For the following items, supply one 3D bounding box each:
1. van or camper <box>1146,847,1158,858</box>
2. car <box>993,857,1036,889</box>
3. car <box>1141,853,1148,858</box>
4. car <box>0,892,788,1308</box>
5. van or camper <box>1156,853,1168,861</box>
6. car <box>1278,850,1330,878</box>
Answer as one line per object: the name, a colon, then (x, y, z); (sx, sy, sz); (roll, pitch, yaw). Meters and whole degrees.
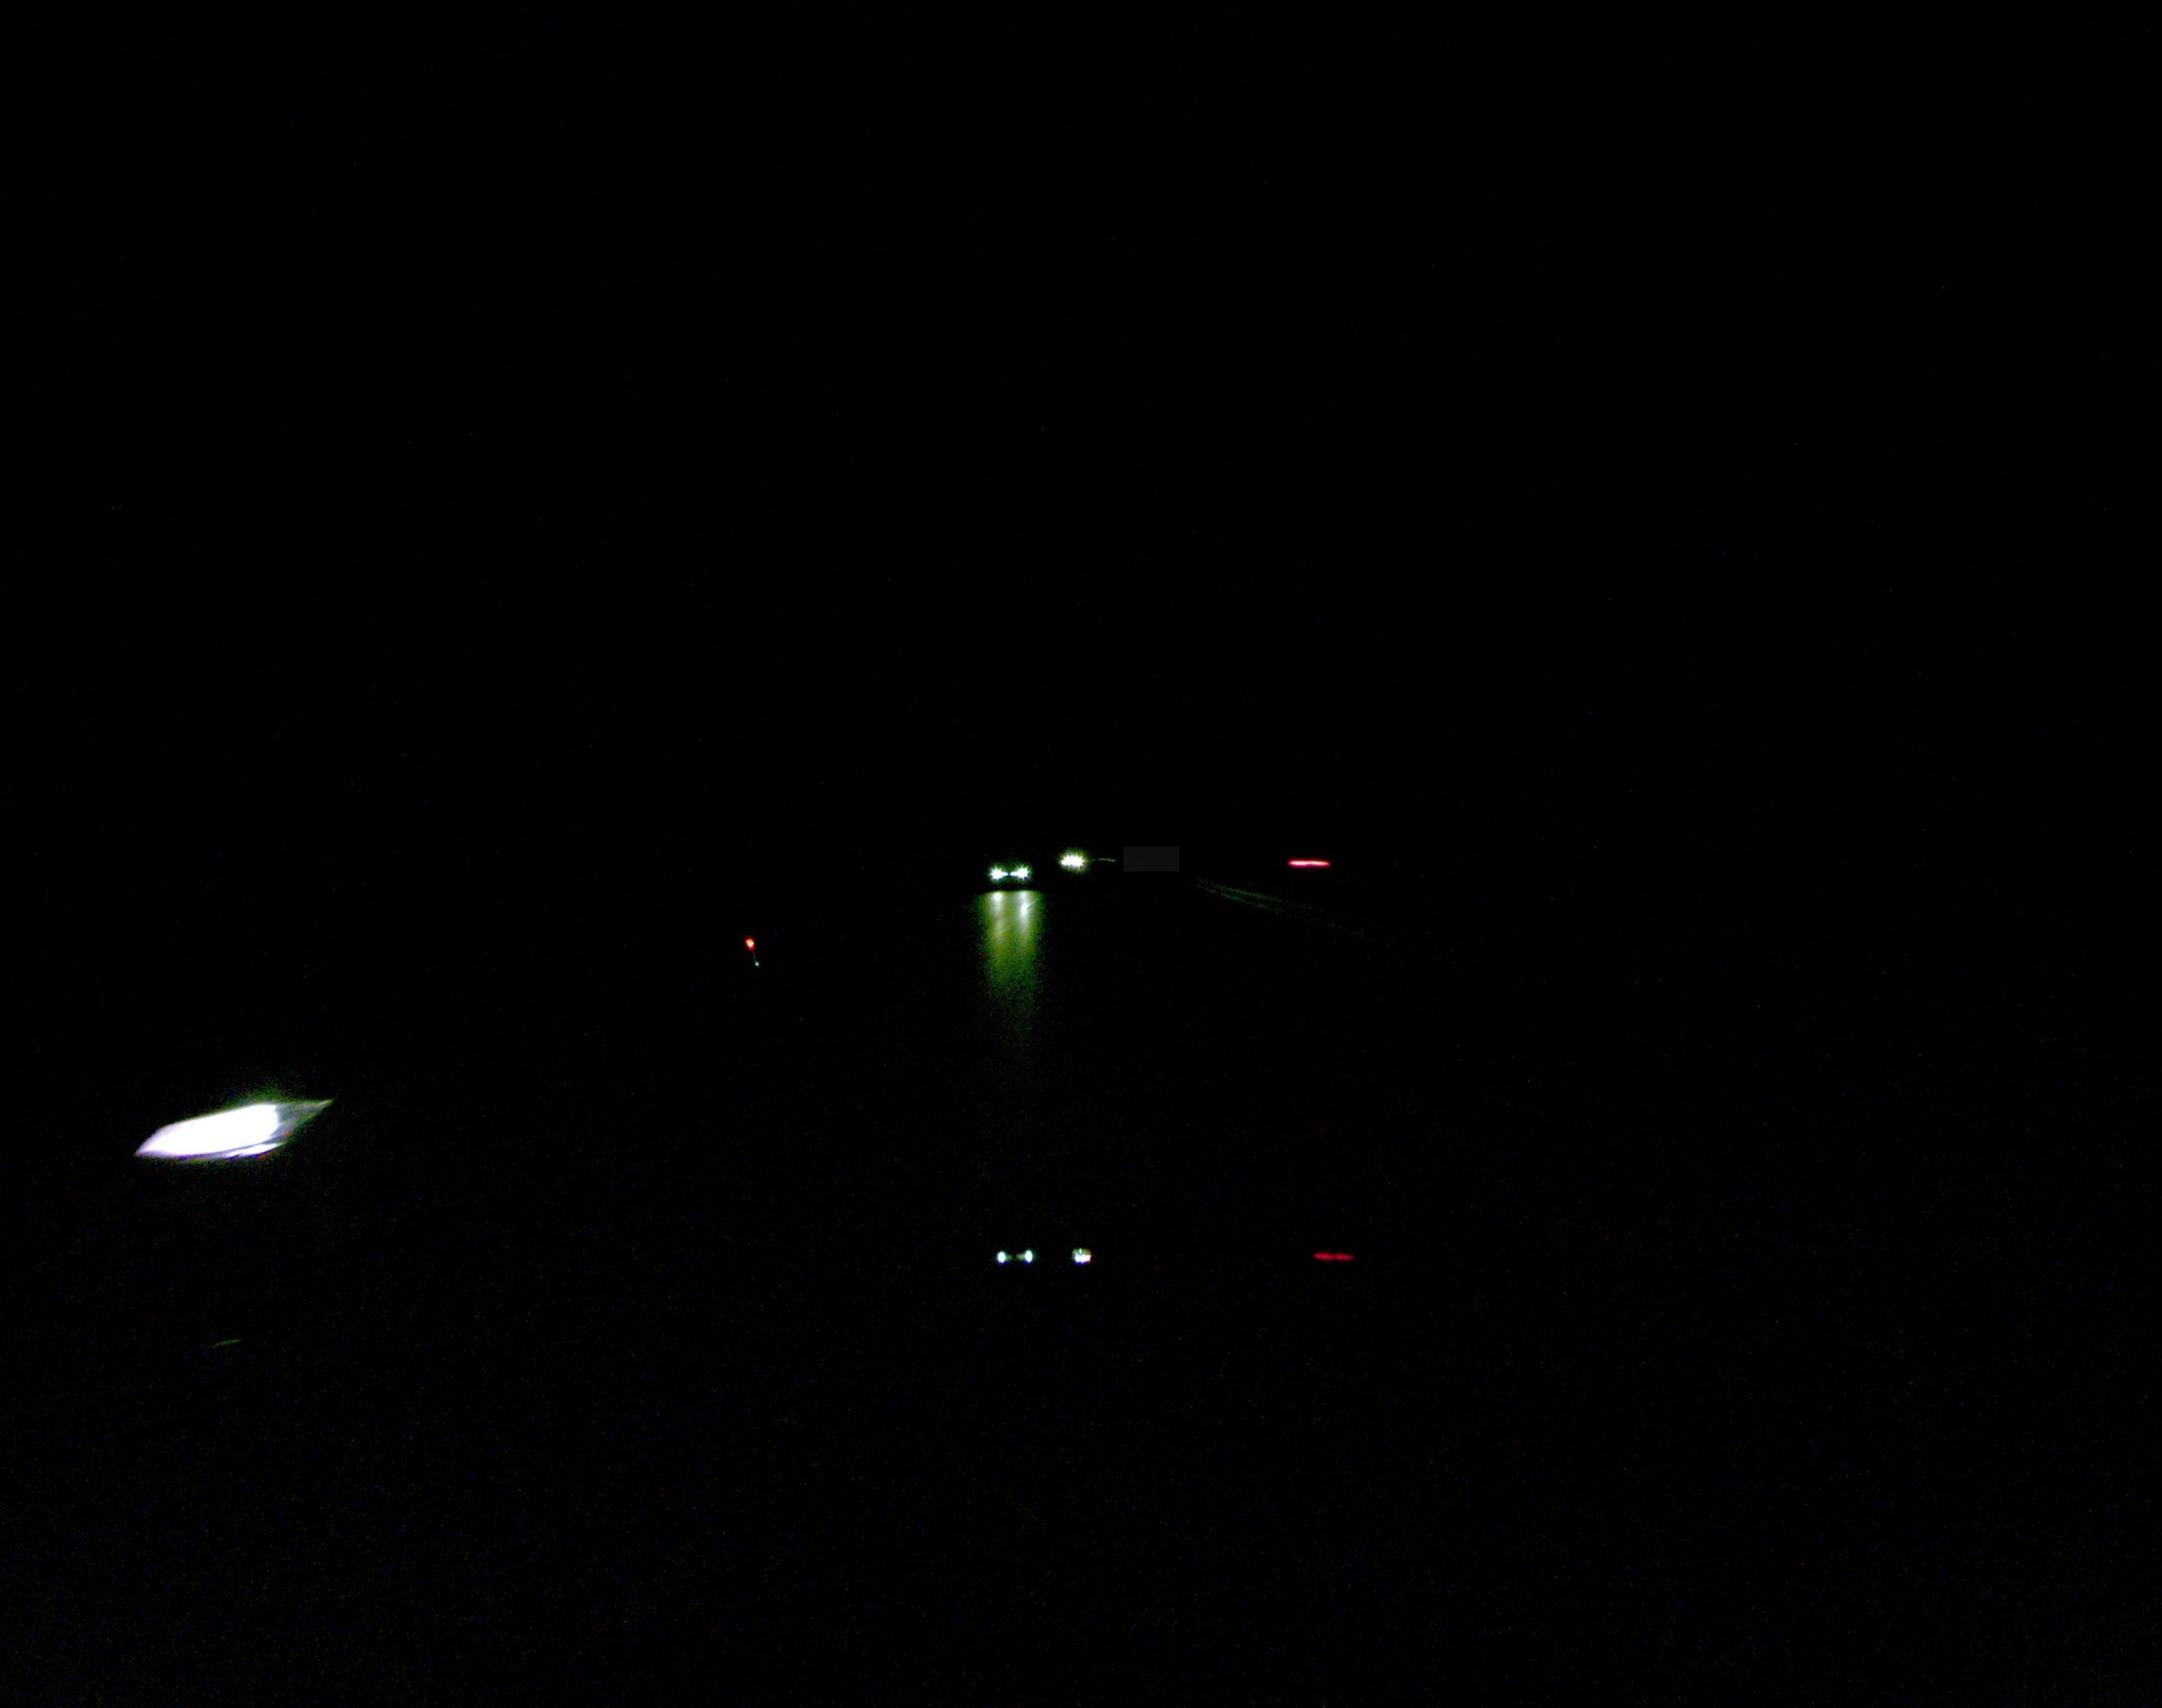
van or camper: (16.613, -0.377, 178.356); (2.335, 2.616, 7.777); (2, 1, 1)
car: (-3.567, 0.979, 41.383); (1.795, 1.532, 4.225); (-3, 0, 1)
car: (21.441, 0.537, 256.291); (1.795, 1.532, 4.552); (6, 0, 0)
car: (-3.672, 1.073, 5.082); (1.690, 1.405, 4.225); (-1, 0, 1)
van or camper: (16.045, 0.551, 150.427); (1.784, 1.433, 5.102); (1, 1, 1)
car: (14.141, 0.583, 48.537); (1.998, 1.628, 5.075); (2, 0, 2)
